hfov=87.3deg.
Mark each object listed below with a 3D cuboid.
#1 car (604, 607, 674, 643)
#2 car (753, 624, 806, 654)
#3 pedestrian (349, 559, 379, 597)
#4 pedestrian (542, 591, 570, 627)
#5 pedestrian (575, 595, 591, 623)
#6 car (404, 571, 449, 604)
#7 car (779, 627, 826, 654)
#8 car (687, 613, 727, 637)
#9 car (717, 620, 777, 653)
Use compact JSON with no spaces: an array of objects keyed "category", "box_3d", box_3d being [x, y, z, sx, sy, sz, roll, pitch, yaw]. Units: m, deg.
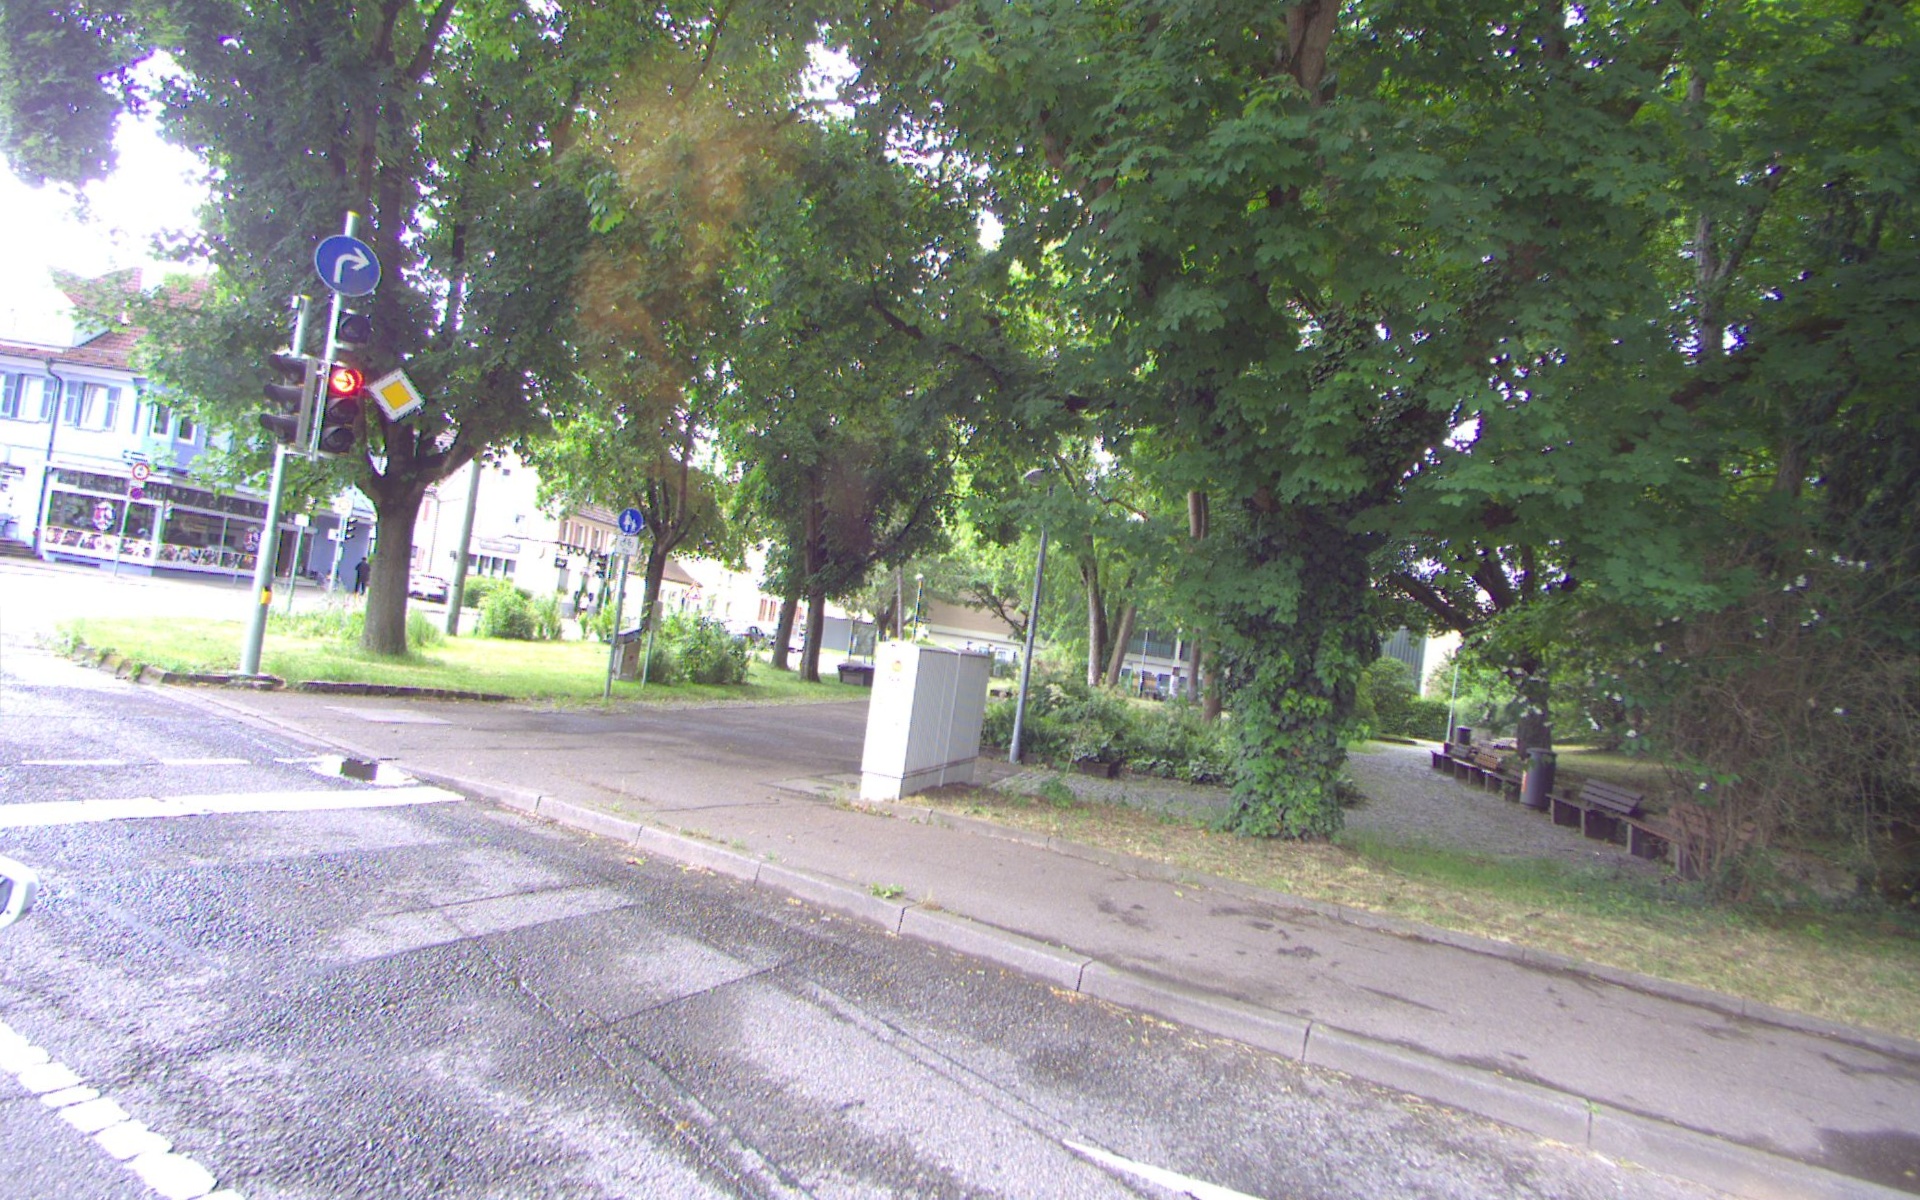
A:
[{"category":"car","box_3d":[-14.054,1.103,44.171,1.436,1.282,3.014,7,-2,13]},{"category":"car","box_3d":[-10.700,2.341,59.906,1.618,1.474,3.740,7,-2,13]},{"category":"pedestrian","box_3d":[-26.997,-0.991,45.553,0.732,1.578,0.673,6,-1,17]},{"category":"pedestrian","box_3d":[-12.995,0.295,32.334,0.506,1.093,0.507,6,-1,17]},{"category":"pedestrian","box_3d":[-21.623,0.517,57.723,0.500,1.578,0.505,6,-1,17]},{"category":"car","box_3d":[-28.176,-0.686,53.161,1.870,1.406,3.589,9,-2,-28]},{"category":"car","box_3d":[-10.274,2.658,66.037,1.618,1.474,3.740,7,-2,13]},{"category":"car","box_3d":[-18.584,1.878,74.012,1.736,1.463,3.865,7,-2,2]},{"category":"car","box_3d":[-11.564,2.017,54.932,1.618,1.474,3.740,7,-2,13]}]
